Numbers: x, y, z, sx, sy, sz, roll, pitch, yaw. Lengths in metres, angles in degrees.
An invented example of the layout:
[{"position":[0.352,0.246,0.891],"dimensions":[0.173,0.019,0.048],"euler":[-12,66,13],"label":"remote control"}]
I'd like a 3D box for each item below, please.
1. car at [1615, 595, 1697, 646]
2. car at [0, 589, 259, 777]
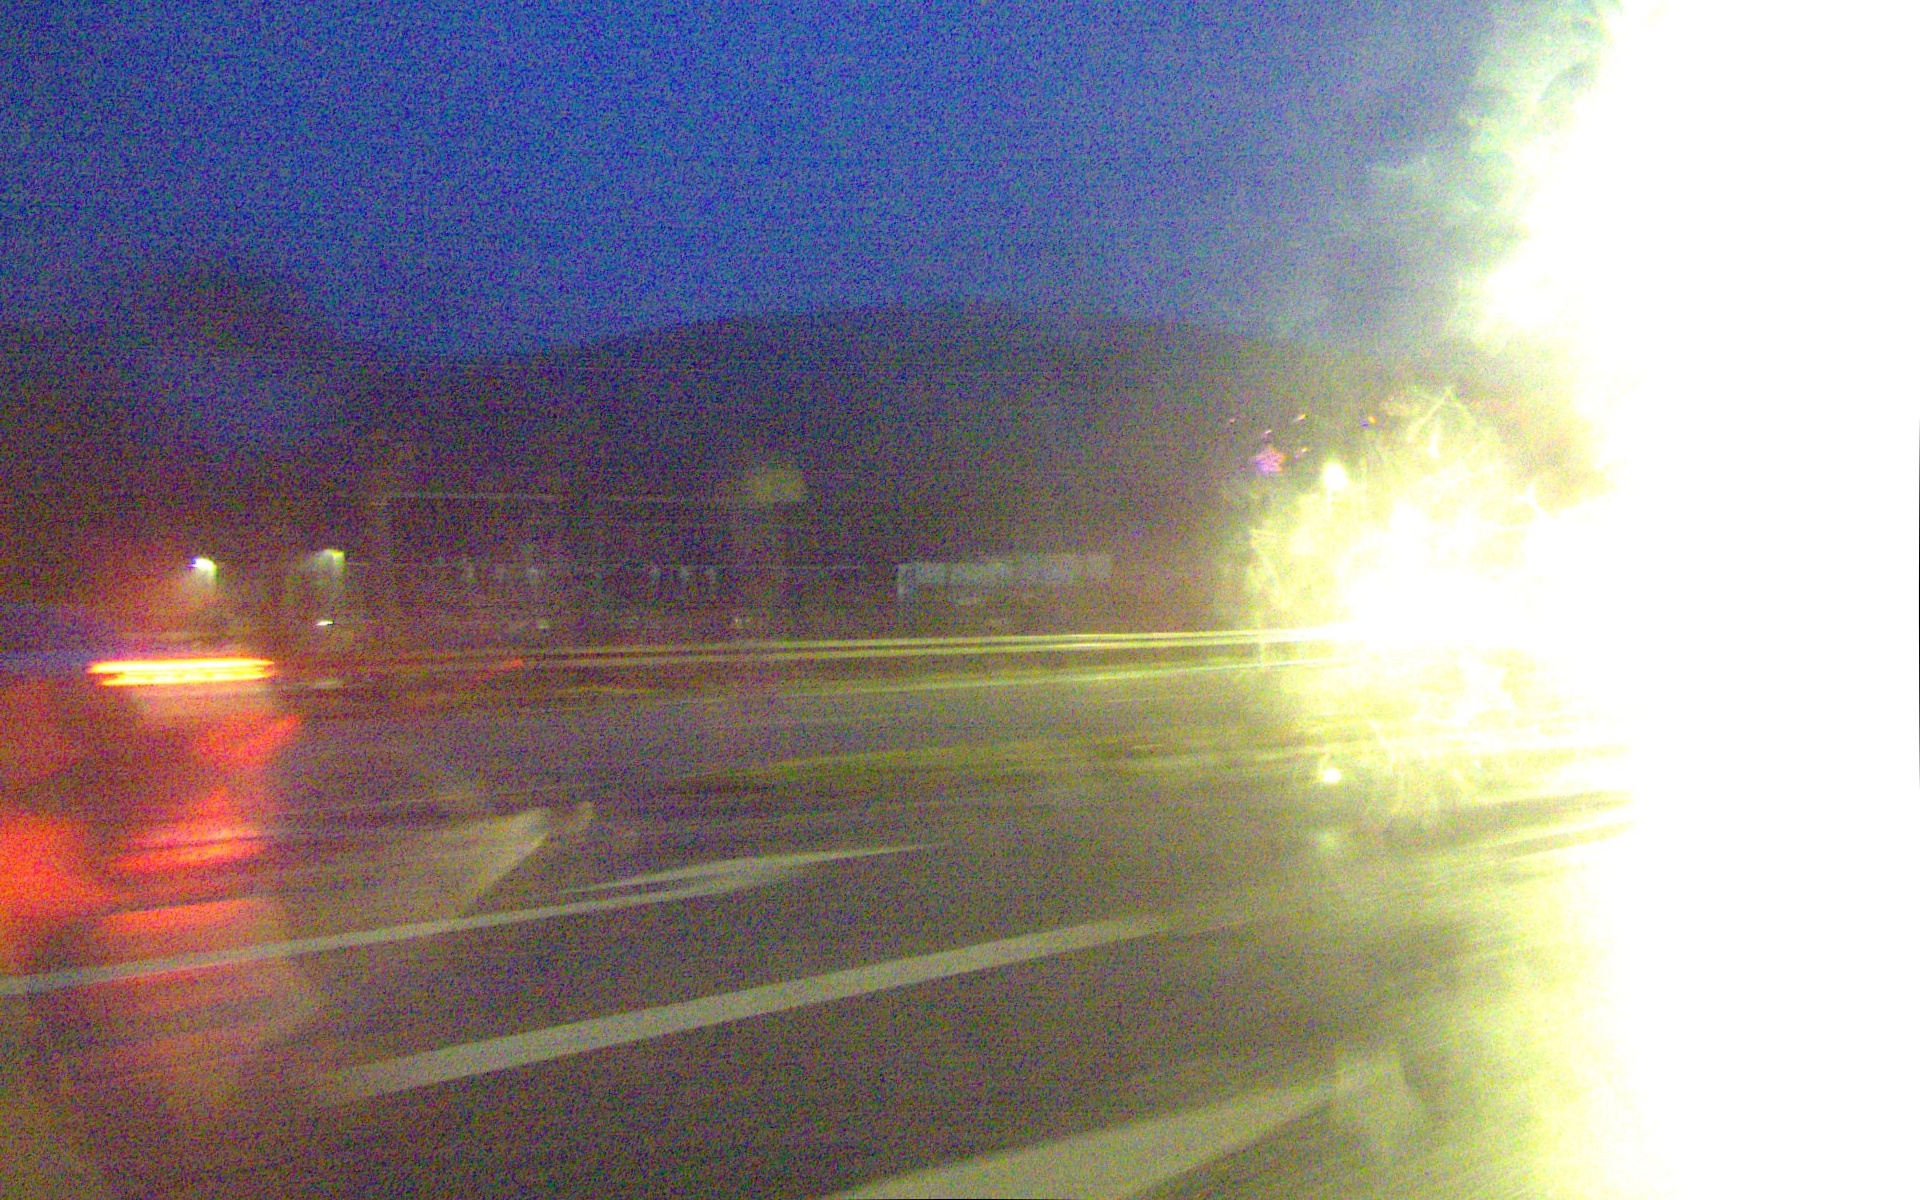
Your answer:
[{"position":[29.447,0.873,42.638],"dimensions":[1.961,2.040,3.999],"euler":[1,-1,21],"label":"car"},{"position":[-8.830,0.675,8.633],"dimensions":[4.507,1.528,1.982],"euler":[0,0,-33],"label":"car"}]
